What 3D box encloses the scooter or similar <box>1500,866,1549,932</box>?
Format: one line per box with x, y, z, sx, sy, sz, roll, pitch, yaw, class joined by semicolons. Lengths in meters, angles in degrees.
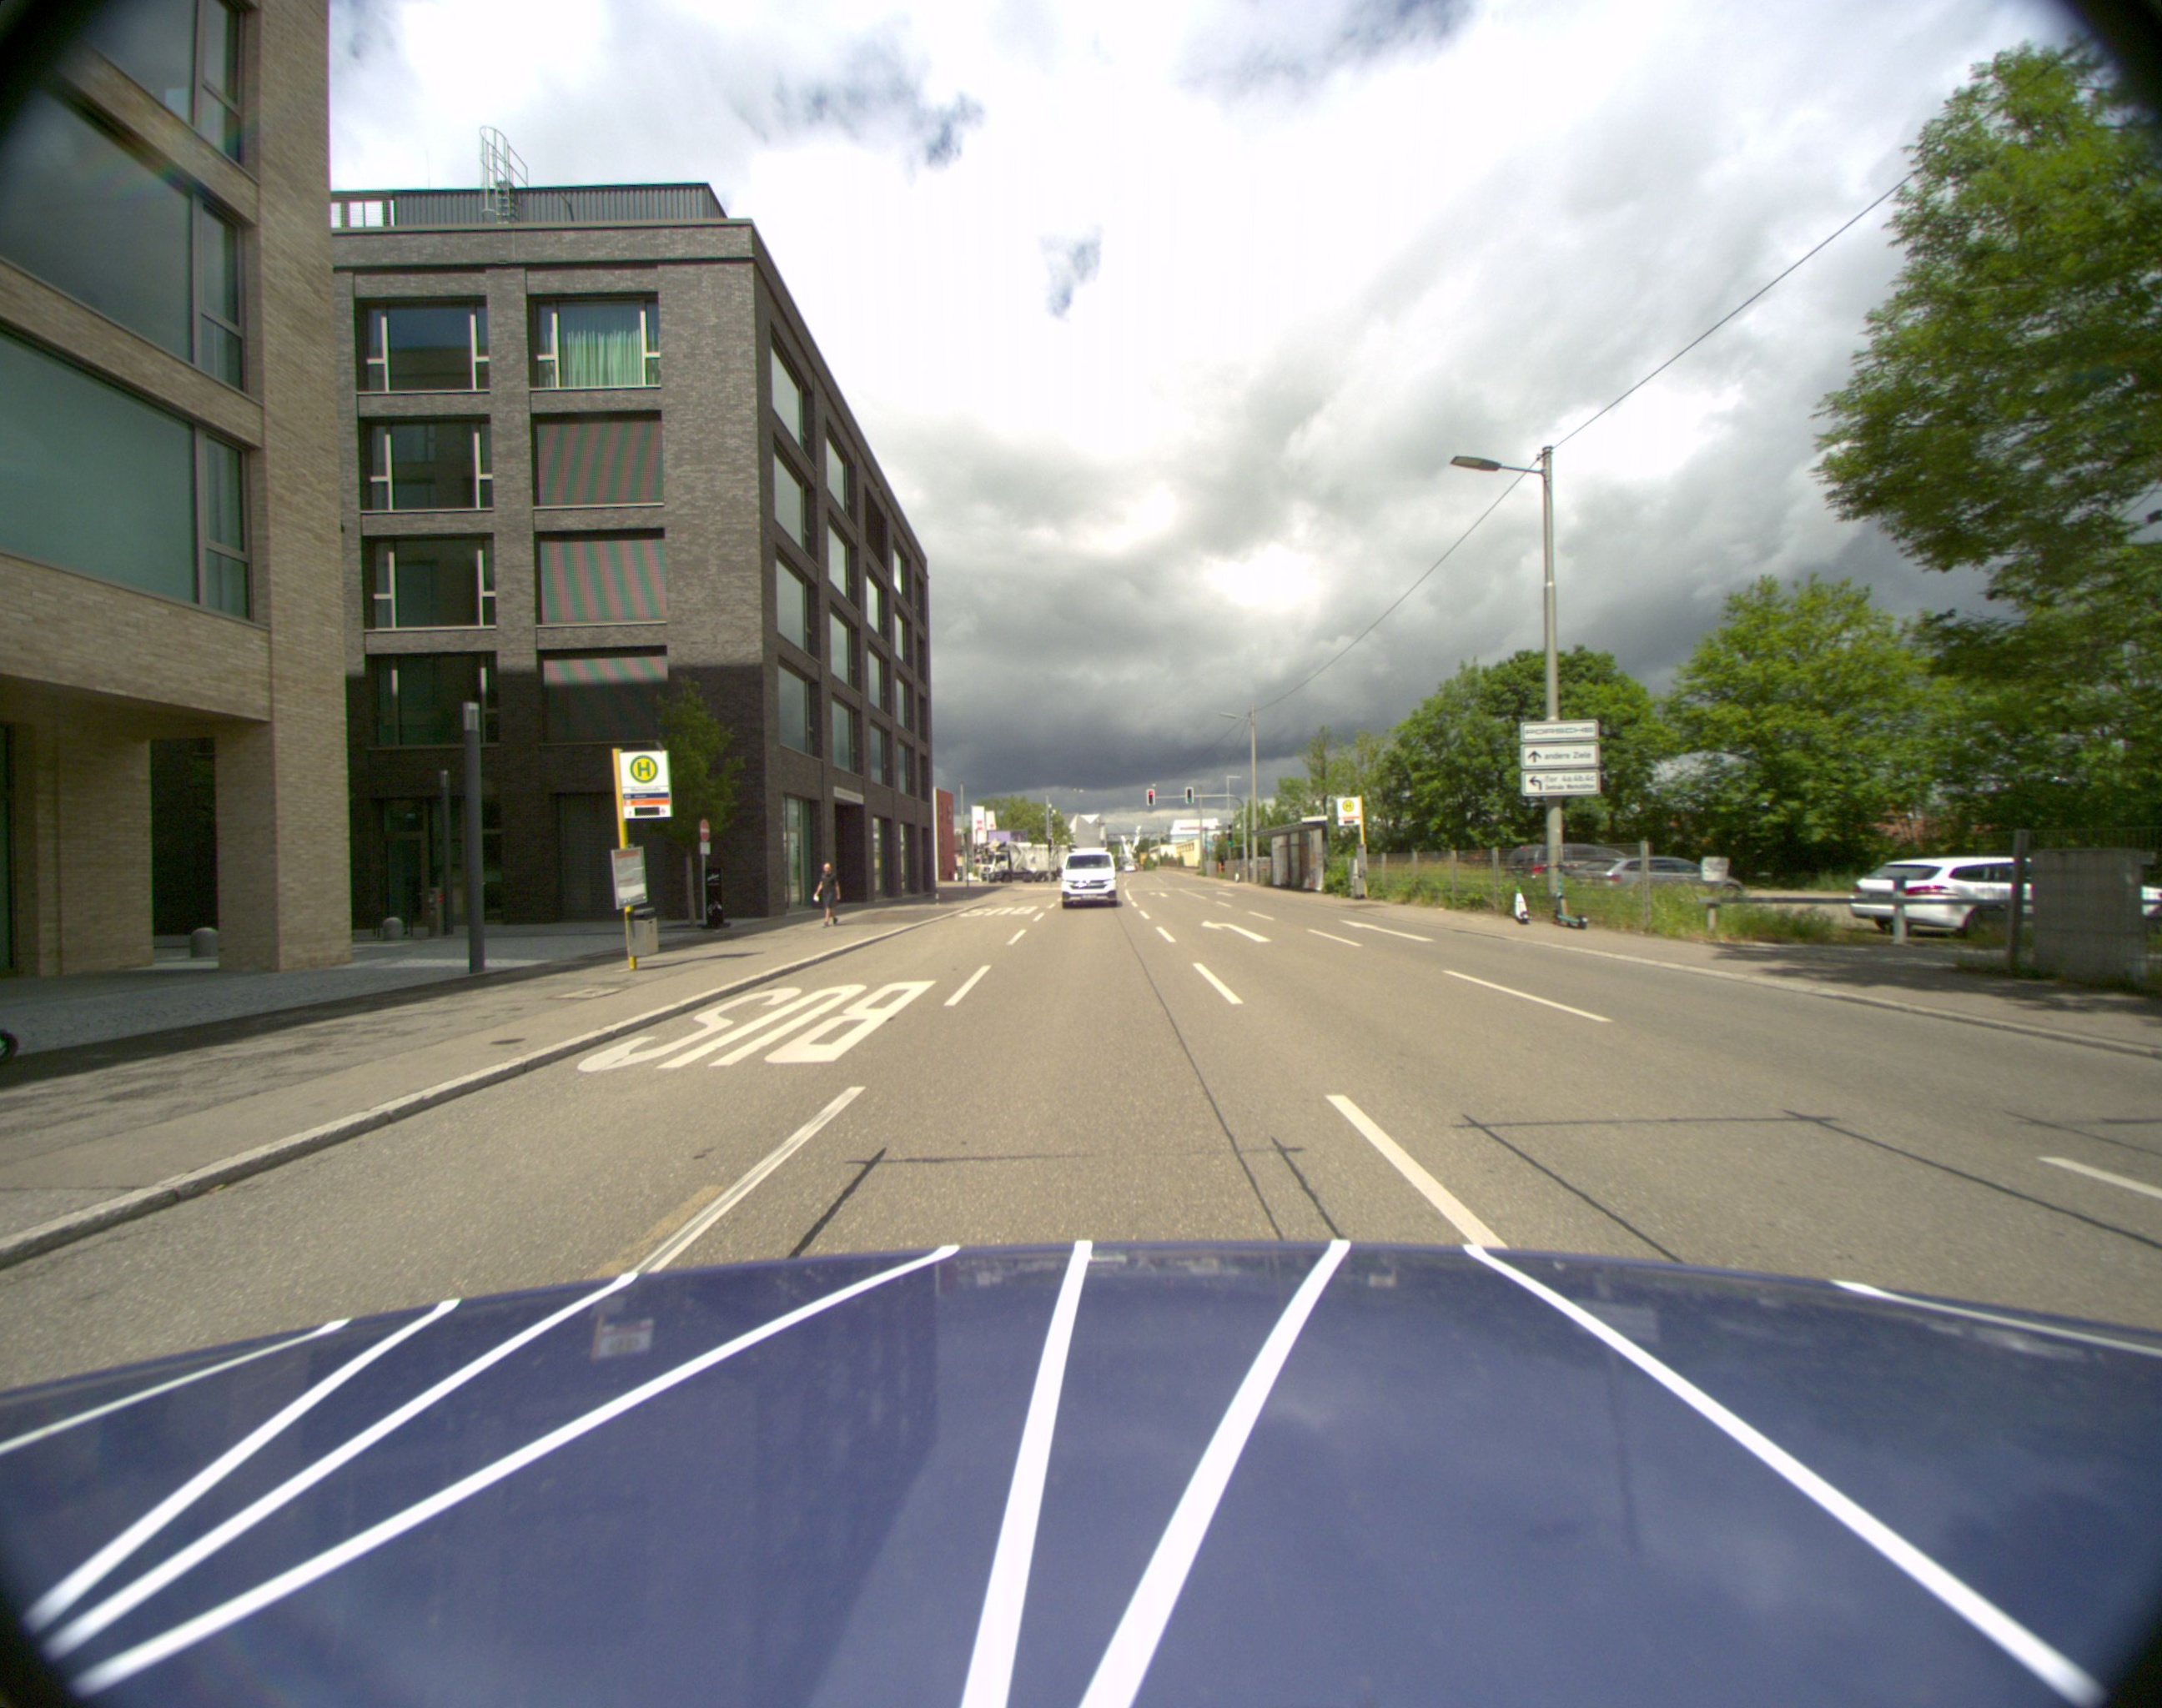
9.155;0.905;15.740;0.535;1.255;1.473;-3;0;18;scooter or similar

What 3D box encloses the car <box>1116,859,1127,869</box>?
7.765;1.960;144.640;1.870;1.781;4.208;-1;-1;1;car

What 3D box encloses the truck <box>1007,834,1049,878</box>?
-5.051;0.177;74.239;2.835;3.889;10.368;-1;0;3;truck

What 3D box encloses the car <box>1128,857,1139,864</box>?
9.542;1.198;138.427;1.801;1.368;4.225;0;-1;1;car

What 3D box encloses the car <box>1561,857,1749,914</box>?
16.755;0.883;22.296;4.289;1.478;1.909;-1;0;-7;car

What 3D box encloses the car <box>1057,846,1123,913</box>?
0.397;0.786;25.780;1.935;2.078;4.209;-1;0;4;car

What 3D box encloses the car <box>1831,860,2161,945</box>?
16.936;0.849;13.958;4.285;1.373;1.866;-1;0;6;car

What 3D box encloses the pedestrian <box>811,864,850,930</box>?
-6.798;1.145;20.668;0.685;1.717;0.962;-2;0;1;pedestrian

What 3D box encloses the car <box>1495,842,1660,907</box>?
16.743;0.652;25.755;4.289;2.002;2.140;-1;1;-6;car

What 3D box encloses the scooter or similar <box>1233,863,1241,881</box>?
10.788;1.255;52.593;0.424;1.203;1.127;-3;0;6;scooter or similar

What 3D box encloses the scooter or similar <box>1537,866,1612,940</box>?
9.213;0.885;14.240;0.536;1.258;1.472;-3;0;6;scooter or similar

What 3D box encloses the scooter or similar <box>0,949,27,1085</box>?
-9.509;1.415;5.979;0.428;1.146;1.403;-1;0;1;scooter or similar
